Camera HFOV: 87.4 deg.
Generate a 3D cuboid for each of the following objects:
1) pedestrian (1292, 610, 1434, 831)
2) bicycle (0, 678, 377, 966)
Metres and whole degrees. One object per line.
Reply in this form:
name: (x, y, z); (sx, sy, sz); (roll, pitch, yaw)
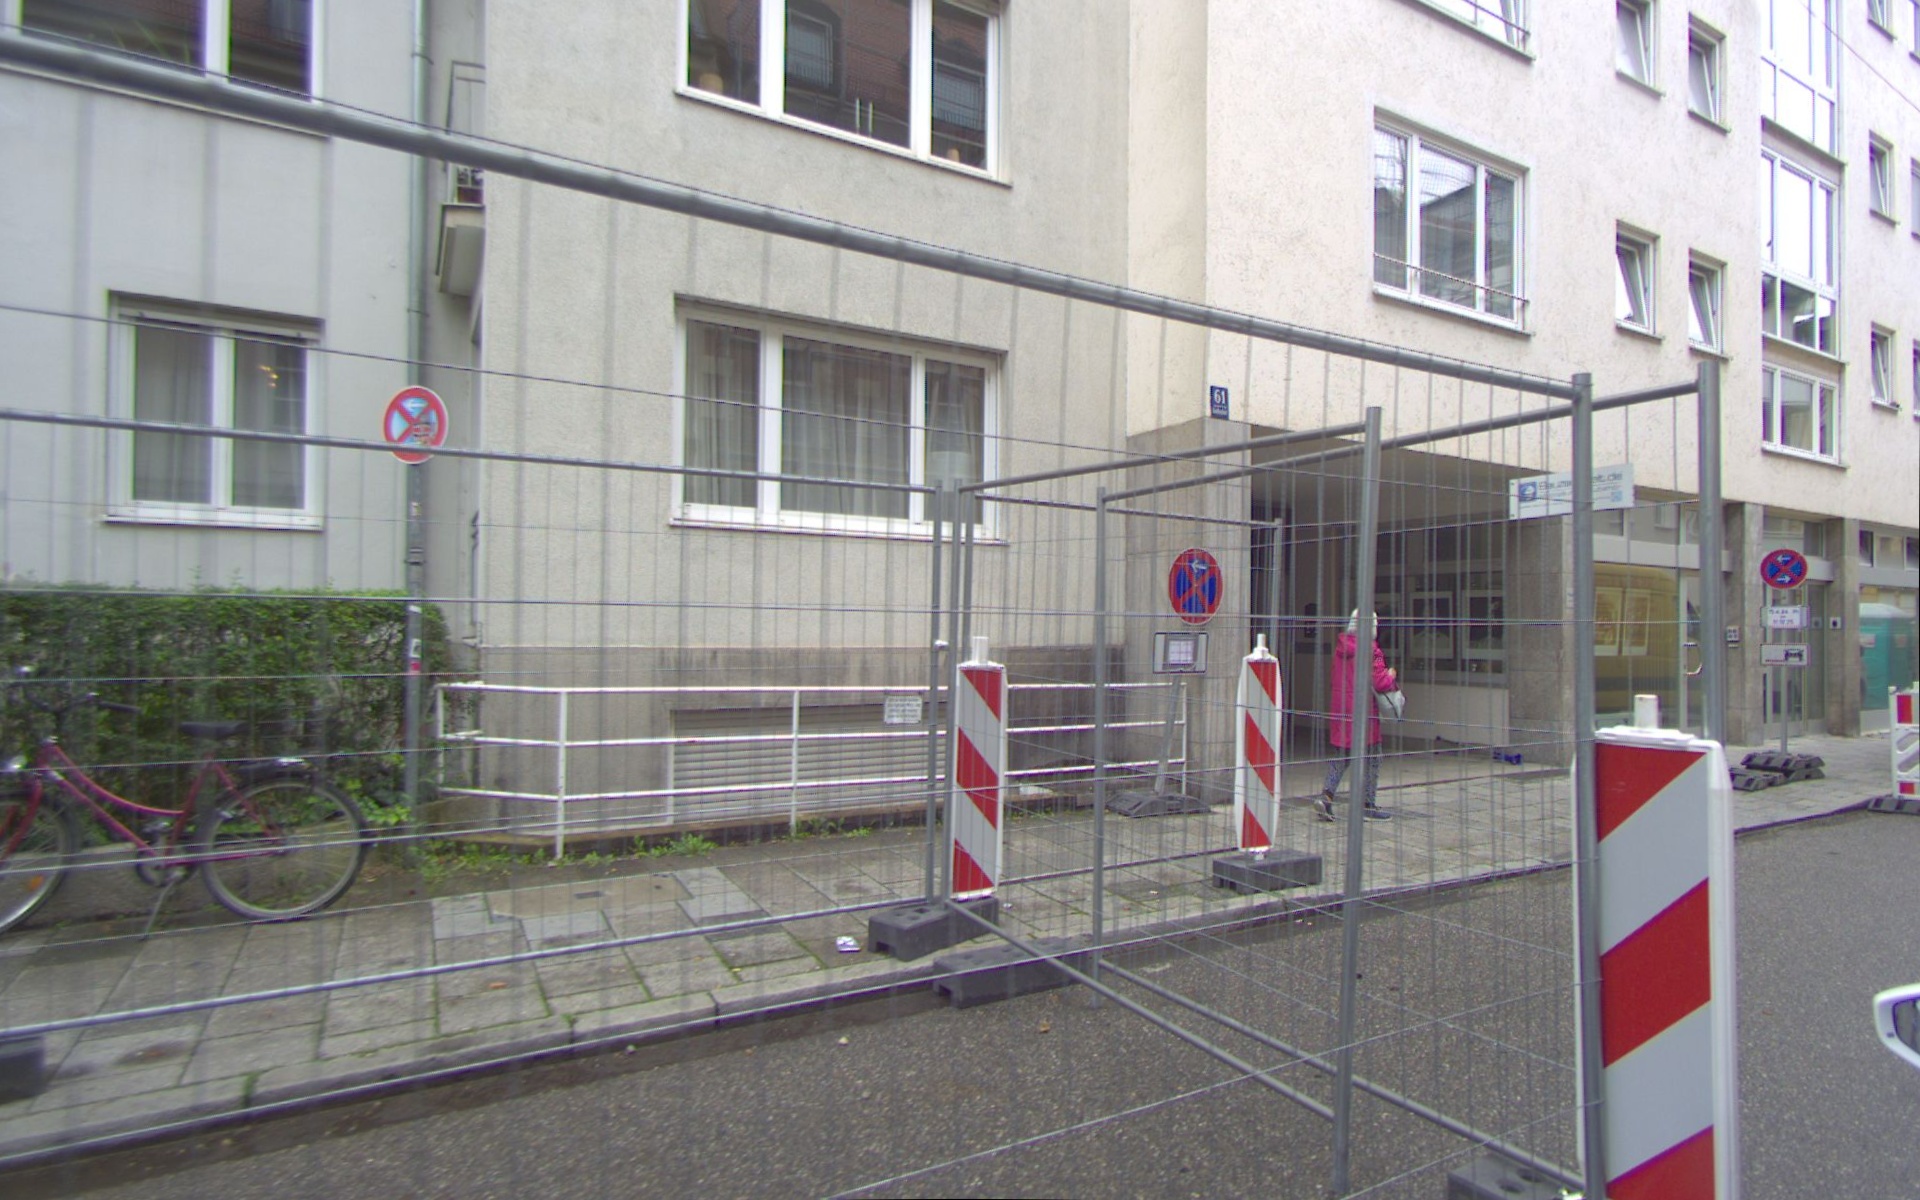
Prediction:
pedestrian: (3.019, 0.863, 7.548); (0.737, 1.552, 0.635); (1, 0, -28)
bicycle: (-3.458, 0.914, 4.362); (1.578, 1.077, 0.375); (1, 4, -29)
